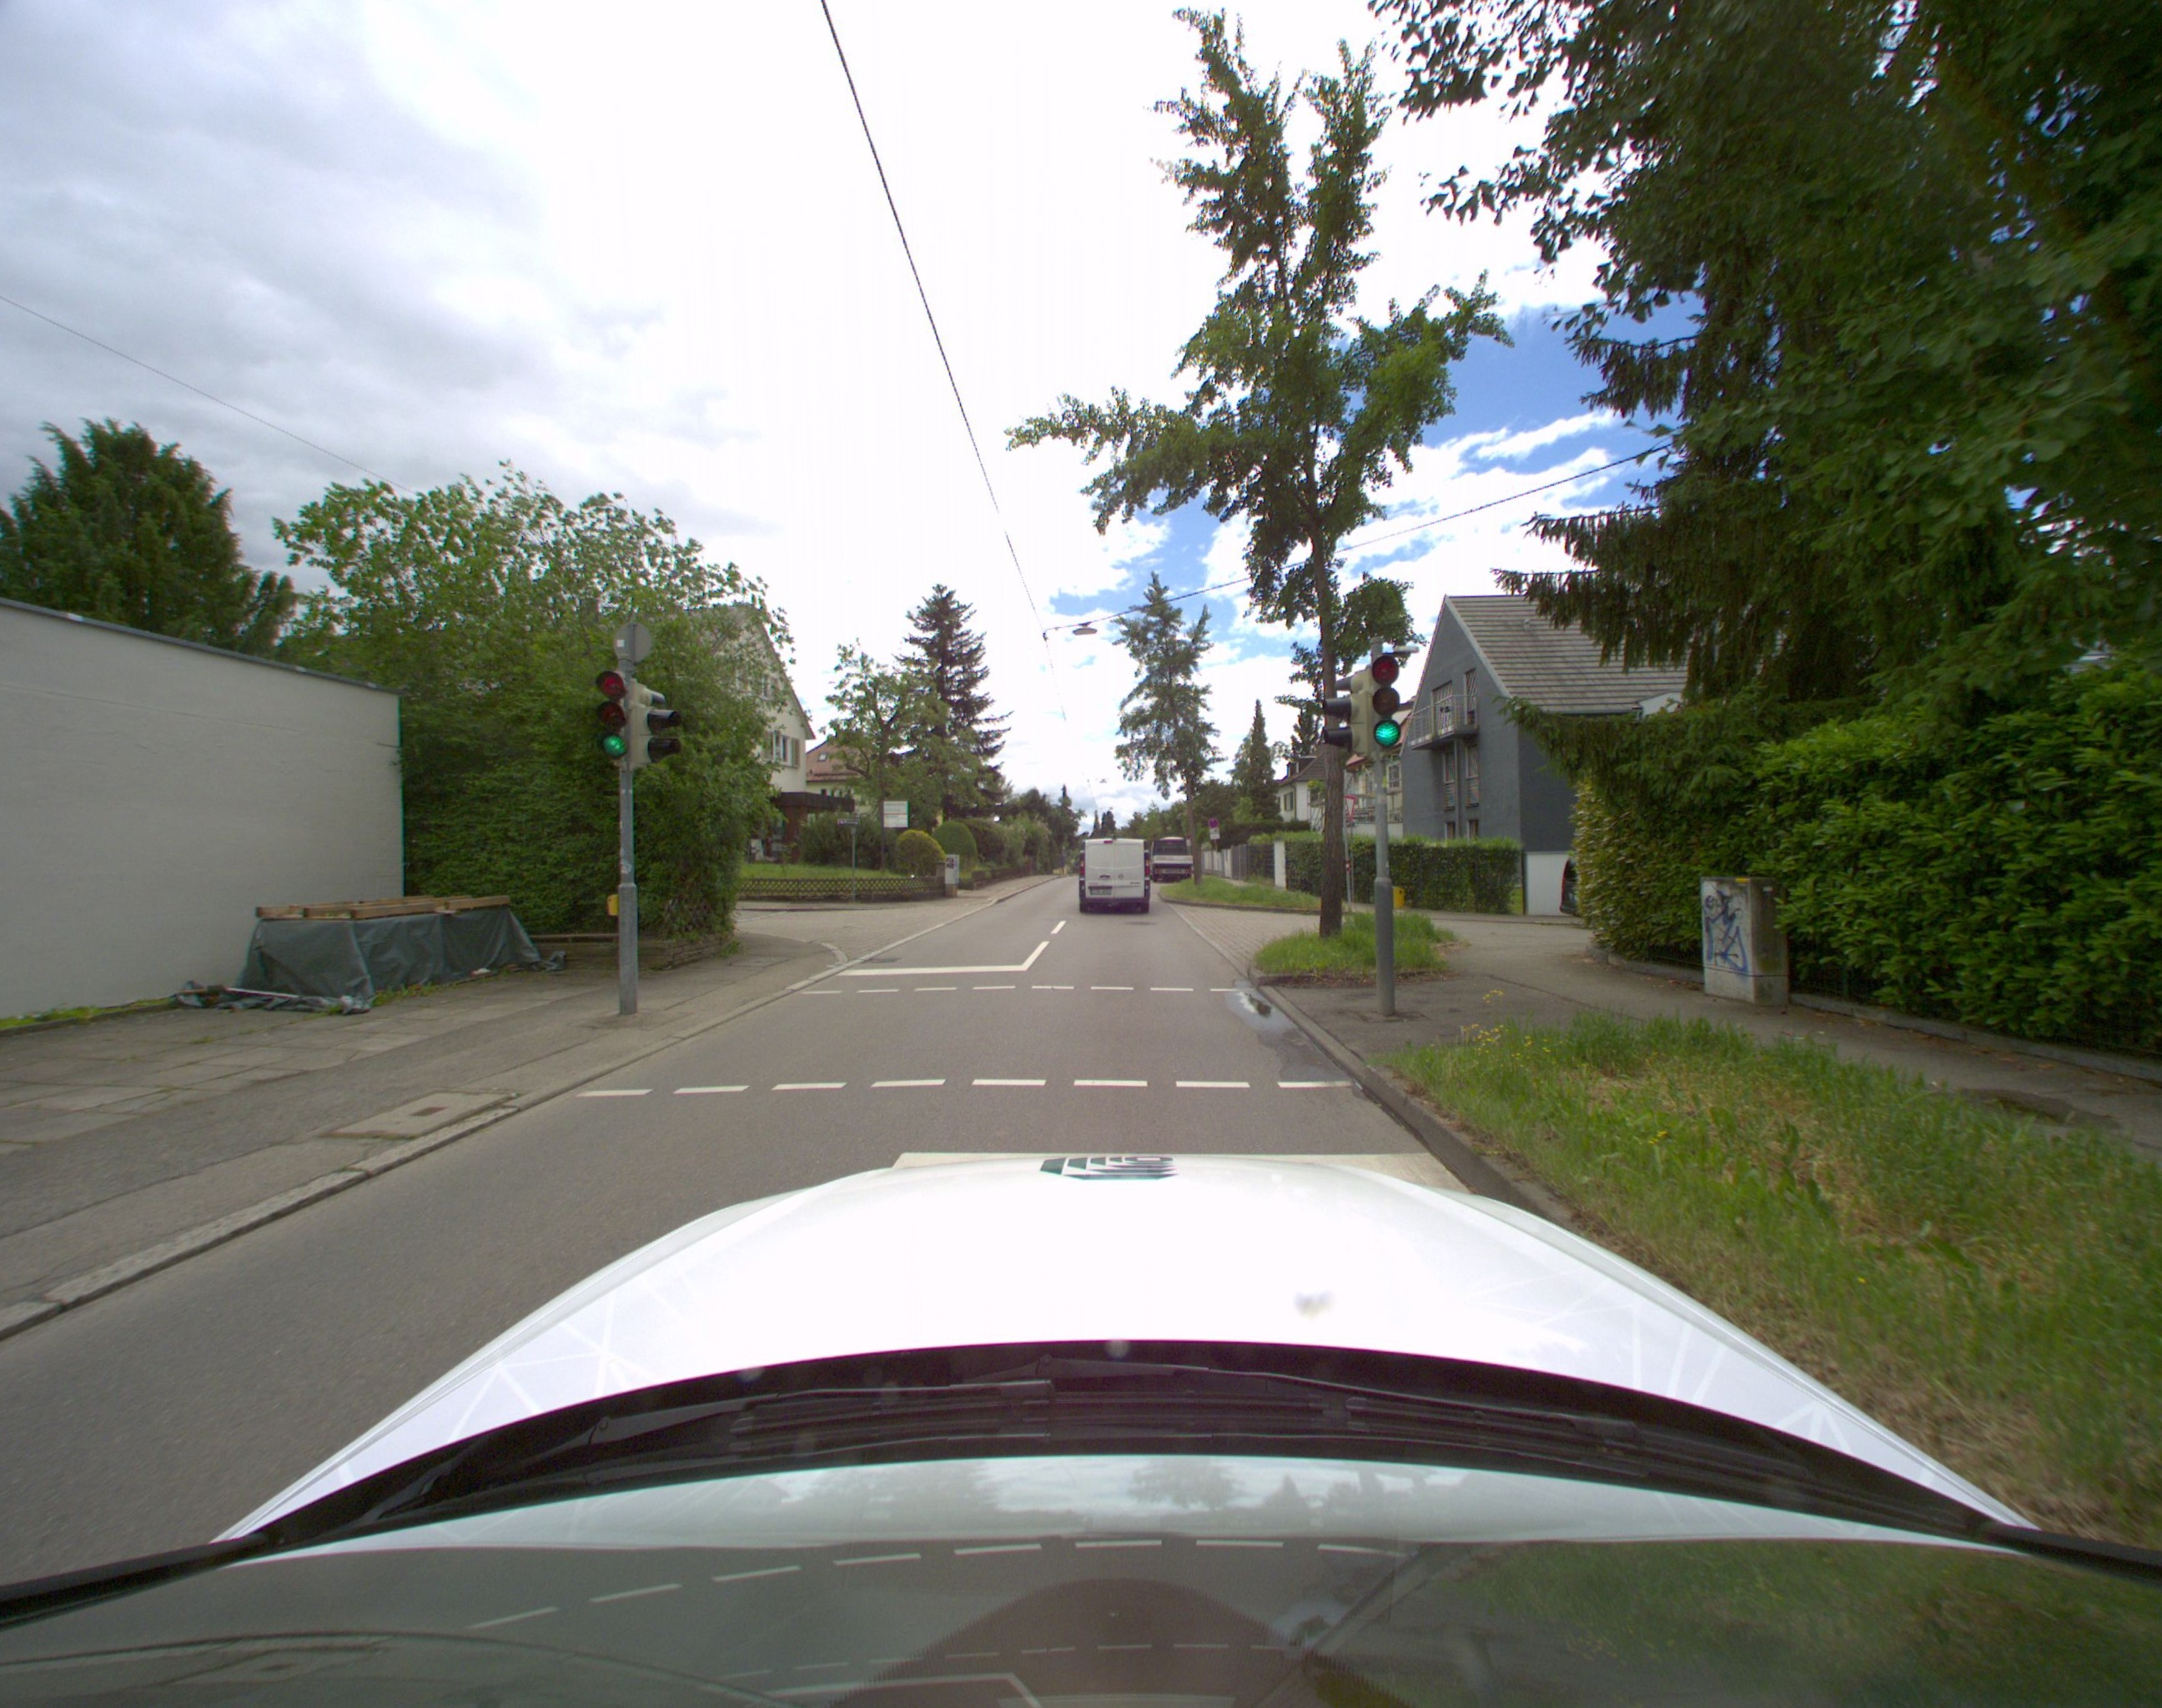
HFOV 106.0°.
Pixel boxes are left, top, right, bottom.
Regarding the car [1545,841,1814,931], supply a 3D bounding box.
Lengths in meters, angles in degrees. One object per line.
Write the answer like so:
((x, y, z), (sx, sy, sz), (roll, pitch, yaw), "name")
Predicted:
((13.924, 0.707, 19.194), (4.741, 1.966, 2.160), (1, 0, 2), "car")

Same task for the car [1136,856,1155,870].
((6.611, 0.930, 84.320), (1.738, 1.447, 4.260), (-2, -1, 2), "car")

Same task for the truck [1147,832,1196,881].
((4.919, 0.152, 45.157), (2.178, 2.472, 7.434), (0, 0, 2), "truck")

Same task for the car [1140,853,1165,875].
((5.726, 0.797, 65.673), (1.738, 1.675, 4.186), (-2, -1, 2), "car")

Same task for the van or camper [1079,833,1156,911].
((1.004, 0.513, 22.976), (1.932, 1.954, 4.766), (0, -1, 2), "van or camper")
